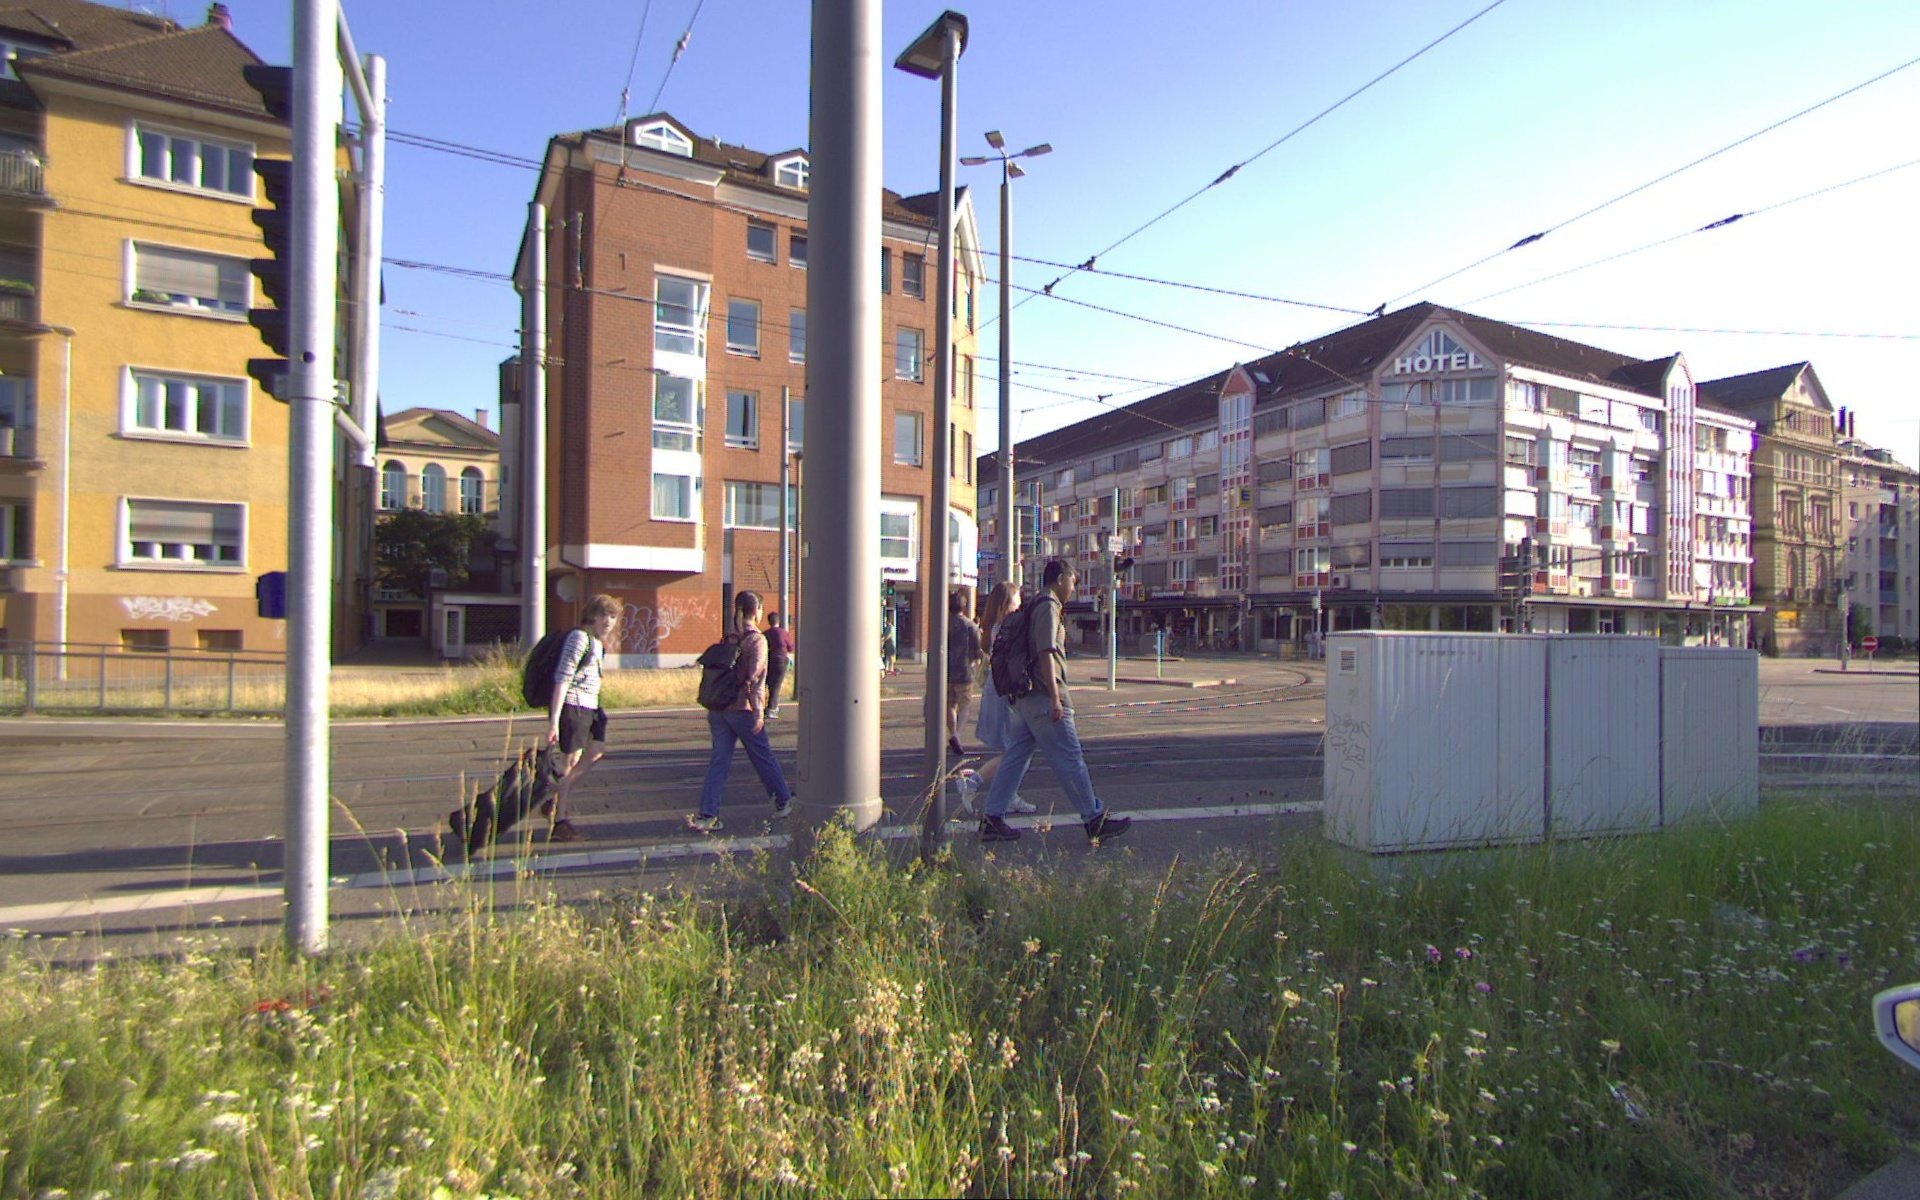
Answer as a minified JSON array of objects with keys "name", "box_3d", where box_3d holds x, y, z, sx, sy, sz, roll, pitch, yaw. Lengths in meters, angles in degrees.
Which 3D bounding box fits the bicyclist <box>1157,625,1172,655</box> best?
[{"name":"bicyclist","box_3d":[10.527,2.074,51.766,0.723,1.501,0.567,0,1,8]}]

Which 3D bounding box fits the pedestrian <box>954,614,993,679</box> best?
[{"name":"pedestrian","box_3d":[0.388,1.298,28.334,0.824,1.781,0.687,2,0,-44]}]

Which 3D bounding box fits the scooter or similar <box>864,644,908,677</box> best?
[{"name":"scooter or similar","box_3d":[-2.418,1.964,32.703,1.311,1.019,0.484,2,0,-23]}]

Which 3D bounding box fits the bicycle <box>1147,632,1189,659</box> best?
[{"name":"bicycle","box_3d":[10.706,2.336,51.746,2.052,1.385,0.584,0,1,9]}]

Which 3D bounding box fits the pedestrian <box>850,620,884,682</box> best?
[{"name":"pedestrian","box_3d":[-2.452,1.337,26.623,0.825,1.605,0.683,2,0,-3]}]

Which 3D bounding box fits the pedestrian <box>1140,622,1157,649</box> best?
[{"name":"pedestrian","box_3d":[12.028,2.267,63.968,0.773,1.682,0.677,2,0,-35]}]

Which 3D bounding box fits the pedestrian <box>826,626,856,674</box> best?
[{"name":"pedestrian","box_3d":[-4.064,1.699,34.385,0.830,1.605,0.680,2,0,-23]}]

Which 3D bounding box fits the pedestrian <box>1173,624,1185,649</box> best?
[{"name":"pedestrian","box_3d":[16.636,2.756,76.418,0.601,1.877,0.601,2,0,-20]}]

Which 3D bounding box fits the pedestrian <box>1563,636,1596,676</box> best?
[{"name":"pedestrian","box_3d":[32.196,2.920,52.235,0.847,1.909,1.187,-7,5,-34]}]

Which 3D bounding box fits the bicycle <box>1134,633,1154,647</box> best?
[{"name":"bicycle","box_3d":[14.627,3.187,79.839,1.630,1.134,0.480,2,0,-30]}]

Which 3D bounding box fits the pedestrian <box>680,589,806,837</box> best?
[{"name":"pedestrian","box_3d":[-1.482,0.715,6.798,0.612,1.556,0.782,2,0,-28]}]

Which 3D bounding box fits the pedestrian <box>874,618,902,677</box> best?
[{"name":"pedestrian","box_3d":[-2.348,1.549,32.729,0.713,1.872,0.559,2,0,-23]}]

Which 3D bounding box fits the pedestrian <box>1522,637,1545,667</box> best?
[{"name":"pedestrian","box_3d":[29.485,2.674,51.671,0.847,1.472,0.700,2,0,-34]}]

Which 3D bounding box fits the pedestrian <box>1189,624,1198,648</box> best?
[{"name":"pedestrian","box_3d":[17.119,2.670,73.663,0.598,1.654,0.605,2,-9,15]}]

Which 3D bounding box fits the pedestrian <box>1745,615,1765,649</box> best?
[{"name":"pedestrian","box_3d":[57.845,2.318,73.052,0.953,2.430,0.918,2,0,-40]}]

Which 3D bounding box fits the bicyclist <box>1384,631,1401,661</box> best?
[{"name":"bicyclist","box_3d":[24.045,2.539,55.857,0.649,1.618,0.636,-1,1,-26]}]

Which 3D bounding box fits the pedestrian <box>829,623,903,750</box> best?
[{"name":"pedestrian","box_3d":[-1.071,0.966,11.536,0.585,1.378,0.608,2,1,22]}]

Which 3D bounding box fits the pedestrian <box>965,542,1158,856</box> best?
[{"name":"pedestrian","box_3d":[0.637,0.583,6.390,0.890,1.825,0.781,2,0,-31]}]

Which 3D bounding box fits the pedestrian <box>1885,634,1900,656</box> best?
[{"name":"pedestrian","box_3d":[74.190,3.592,79.928,0.715,1.717,0.692,2,0,-30]}]

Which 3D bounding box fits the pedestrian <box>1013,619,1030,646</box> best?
[{"name":"pedestrian","box_3d":[3.795,1.999,61.866,0.773,1.682,0.677,2,0,-35]}]

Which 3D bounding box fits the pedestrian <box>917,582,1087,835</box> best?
[{"name":"pedestrian","box_3d":[0.291,0.719,7.169,0.890,1.662,0.781,2,0,-32]}]

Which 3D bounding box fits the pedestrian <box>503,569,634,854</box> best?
[{"name":"pedestrian","box_3d":[-2.494,0.659,6.369,0.612,1.662,0.781,2,0,-32]}]

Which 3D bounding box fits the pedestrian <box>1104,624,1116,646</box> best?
[{"name":"pedestrian","box_3d":[12.528,2.891,83.885,0.804,1.802,0.680,2,0,0]}]

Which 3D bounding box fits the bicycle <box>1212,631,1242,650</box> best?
[{"name":"bicycle","box_3d":[18.454,2.818,69.584,0.720,1.243,2.319,2,-2,-24]}]

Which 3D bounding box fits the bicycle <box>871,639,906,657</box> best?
[{"name":"bicycle","box_3d":[-3.917,2.641,55.018,1.813,0.974,0.540,1,1,-27]}]

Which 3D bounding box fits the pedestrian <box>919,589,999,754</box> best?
[{"name":"pedestrian","box_3d":[0.002,0.781,11.440,0.760,1.781,0.900,2,0,7]}]

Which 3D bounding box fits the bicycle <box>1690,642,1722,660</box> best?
[{"name":"bicycle","box_3d":[48.486,3.296,65.272,2.056,1.085,0.451,2,0,-13]}]

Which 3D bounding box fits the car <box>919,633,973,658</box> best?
[{"name":"car","box_3d":[-0.841,2.579,57.521,1.725,1.261,3.916,2,0,-22]}]

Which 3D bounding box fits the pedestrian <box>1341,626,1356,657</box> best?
[{"name":"pedestrian","box_3d":[23.223,2.483,60.014,0.503,1.788,1.001,2,0,40]}]

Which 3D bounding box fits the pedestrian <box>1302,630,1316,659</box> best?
[{"name":"pedestrian","box_3d":[20.700,2.621,59.509,0.612,1.717,0.866,2,0,29]}]

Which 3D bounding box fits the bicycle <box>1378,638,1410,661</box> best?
[{"name":"bicycle","box_3d":[24.176,2.766,55.931,1.746,1.160,0.636,-1,1,-27]}]

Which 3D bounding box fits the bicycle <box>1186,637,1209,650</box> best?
[{"name":"bicycle","box_3d":[17.086,3.122,72.268,0.494,0.929,2.066,2,-2,-24]}]

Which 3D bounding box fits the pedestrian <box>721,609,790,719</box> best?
[{"name":"pedestrian","box_3d":[-3.101,0.952,15.241,0.773,1.609,0.608,2,0,23]}]
